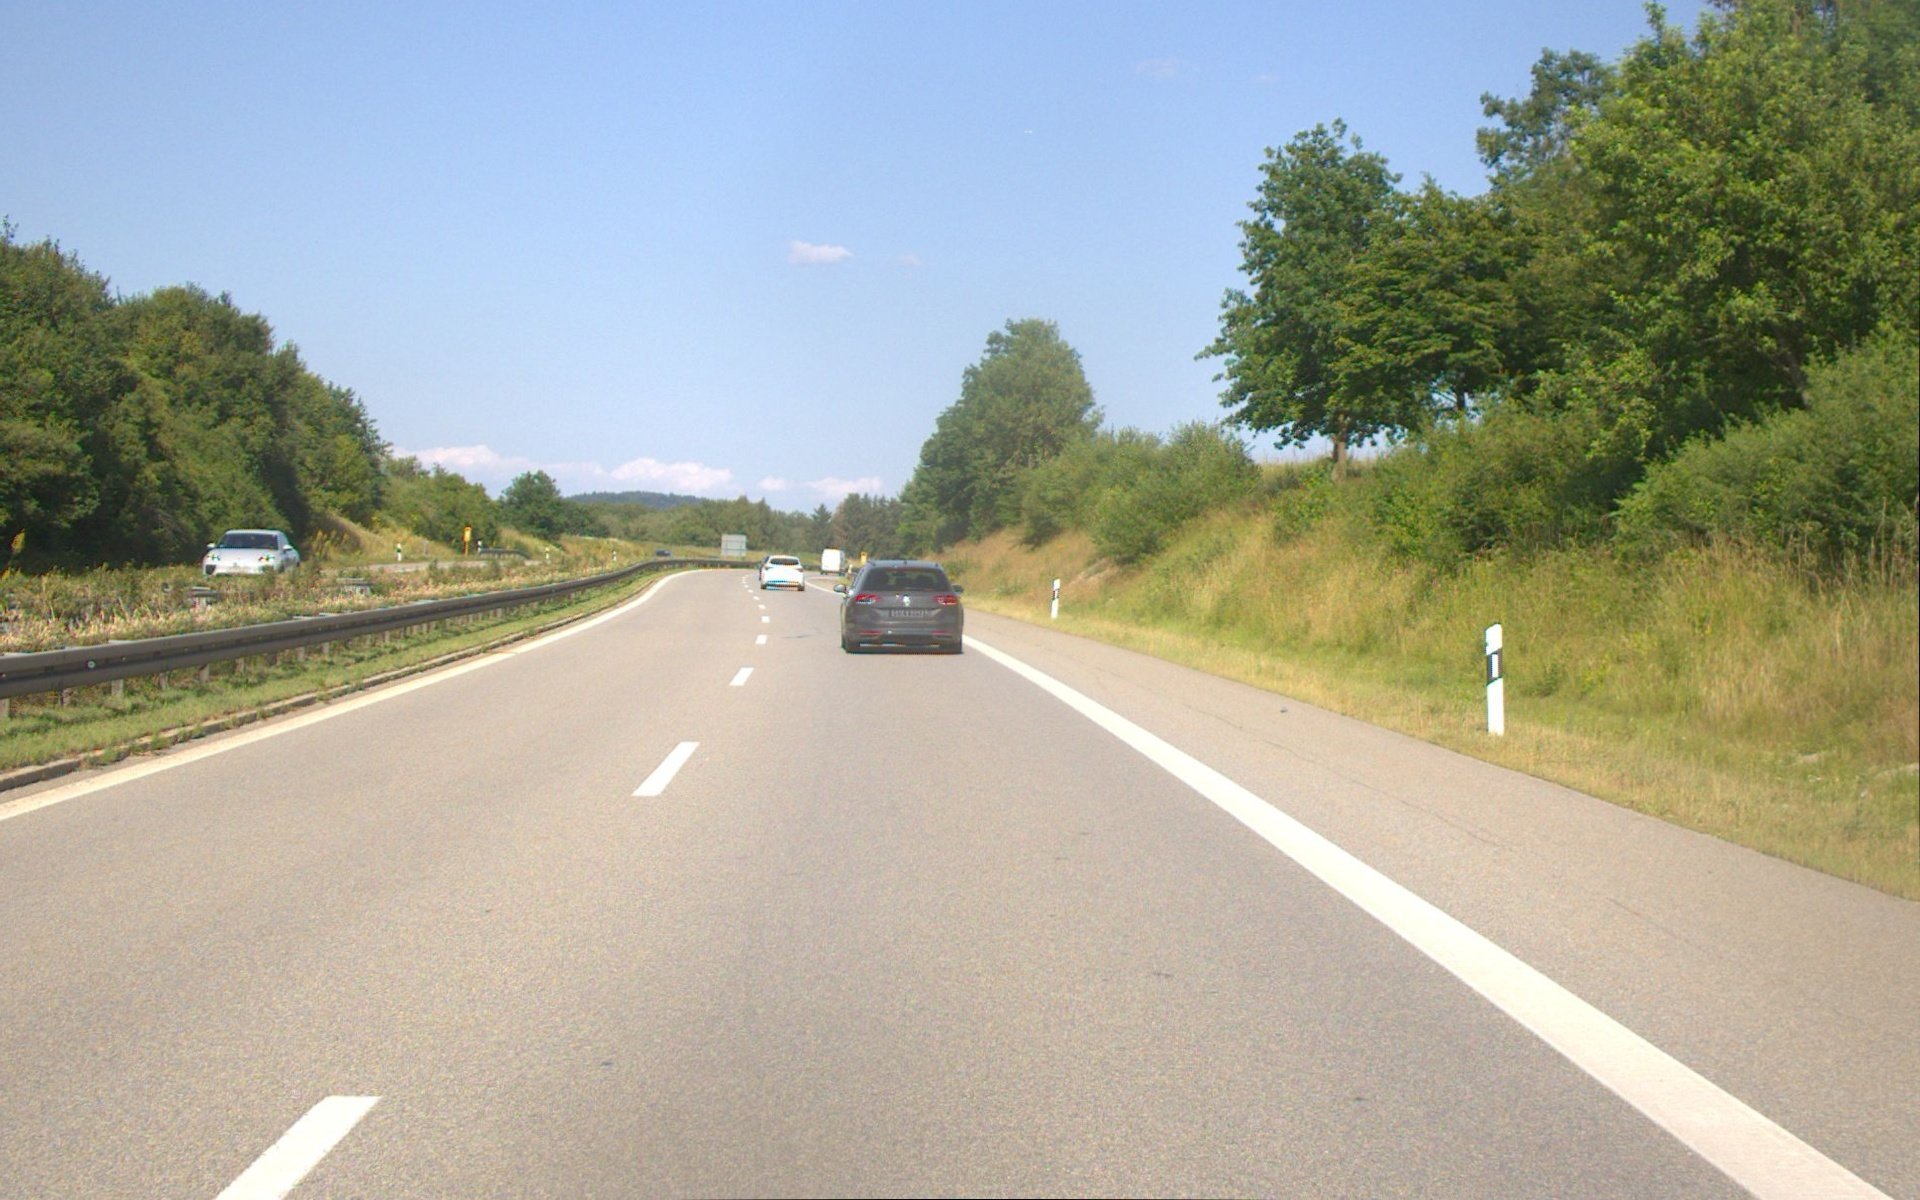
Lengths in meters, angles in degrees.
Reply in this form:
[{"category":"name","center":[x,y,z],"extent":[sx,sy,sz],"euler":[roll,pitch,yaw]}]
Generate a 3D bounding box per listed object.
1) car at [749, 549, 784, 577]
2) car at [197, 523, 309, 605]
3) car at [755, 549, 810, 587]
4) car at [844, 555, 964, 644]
[{"category":"car","center":[-10.888,-2.088,193.491],"extent":[1.710,1.382,3.355],"euler":[6,0,-1]},{"category":"car","center":[-17.887,-0.914,87.151],"extent":[1.993,2.007,4.856],"euler":[1,1,-2]},{"category":"car","center":[-7.295,-1.305,140.914],"extent":[2.007,1.340,4.001],"euler":[5,0,-5]},{"category":"car","center":[-0.884,-0.030,53.374],"extent":[1.791,1.340,4.000],"euler":[0,1,-1]}]
